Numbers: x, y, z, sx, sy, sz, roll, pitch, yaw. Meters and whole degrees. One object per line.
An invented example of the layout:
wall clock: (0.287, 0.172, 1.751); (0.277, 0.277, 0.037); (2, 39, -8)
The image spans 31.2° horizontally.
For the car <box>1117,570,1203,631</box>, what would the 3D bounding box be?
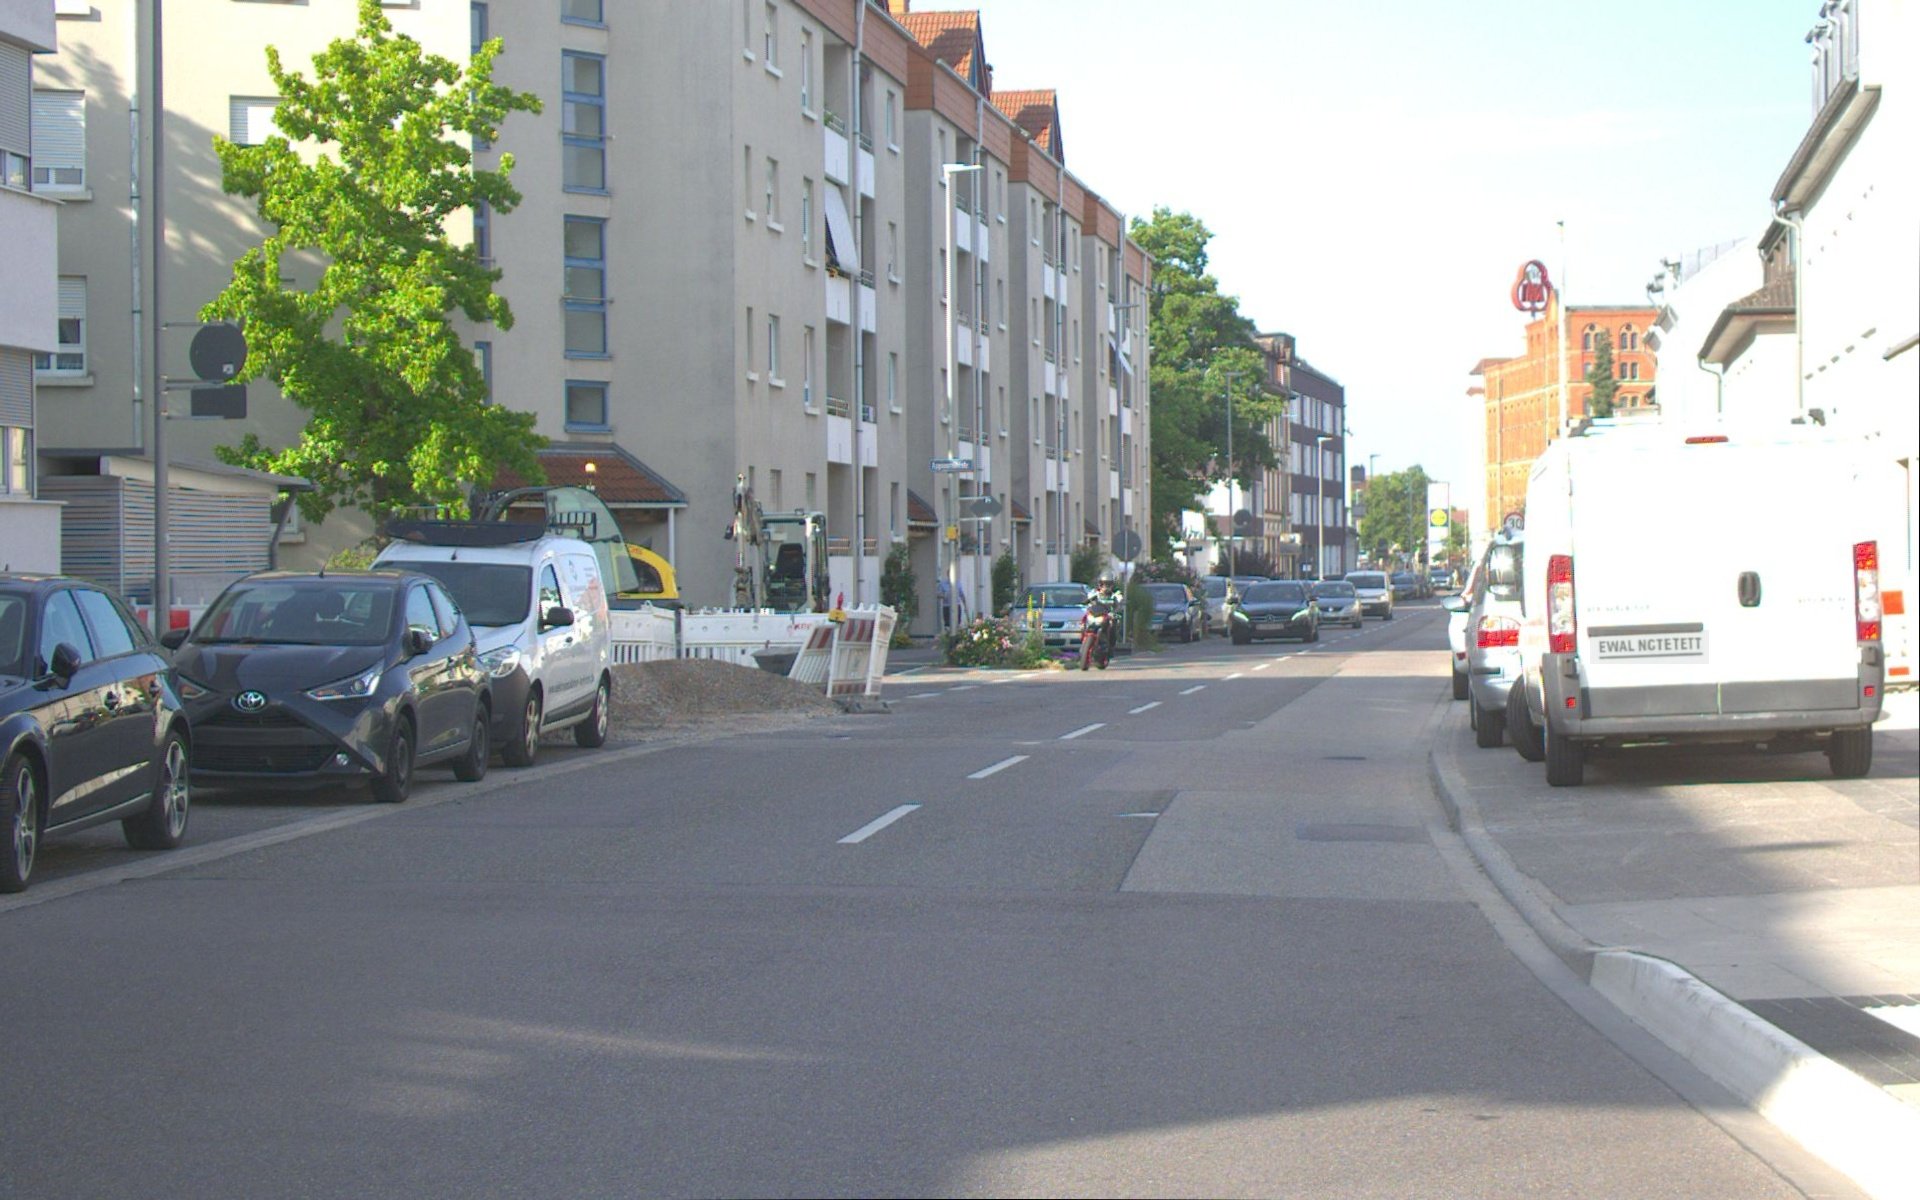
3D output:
car: (4.776, -0.005, 81.577); (1.686, 1.401, 4.082); (1, 1, 8)

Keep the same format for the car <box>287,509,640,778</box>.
car: (-3.850, 0.281, 27.397); (1.727, 1.954, 4.438); (0, 1, 6)

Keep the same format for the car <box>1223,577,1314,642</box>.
car: (7.042, 0.204, 78.250); (1.830, 1.415, 4.207); (-1, 0, 8)

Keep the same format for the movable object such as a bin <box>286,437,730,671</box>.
movable object such as a bin: (-5.755, -0.594, 44.164); (5.496, 2.890, 2.112); (0, 1, -6)

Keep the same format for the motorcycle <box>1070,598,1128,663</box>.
motorcycle: (2.254, 0.477, 55.489); (0.768, 0.981, 2.198); (1, 1, 7)

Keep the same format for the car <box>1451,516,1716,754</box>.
car: (4.996, 0.228, 28.041); (1.778, 1.735, 4.482); (-2, 1, 7)

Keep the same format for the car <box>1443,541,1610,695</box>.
car: (6.736, 0.170, 41.063); (1.813, 1.678, 4.475); (-2, 1, 9)

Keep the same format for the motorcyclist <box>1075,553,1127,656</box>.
motorcyclist: (2.277, 0.062, 55.561); (0.769, 1.646, 0.843); (1, 1, 6)

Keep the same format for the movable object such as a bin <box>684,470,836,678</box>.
movable object such as a bin: (-3.098, -0.446, 53.982); (1.648, 3.127, 3.899); (1, 2, 8)

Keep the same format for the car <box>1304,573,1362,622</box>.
car: (11.517, -0.090, 105.965); (1.618, 1.450, 3.684); (-1, 0, 8)

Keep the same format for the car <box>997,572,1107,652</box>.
car: (1.736, 0.206, 63.758); (1.641, 1.391, 3.670); (-1, 1, 8)

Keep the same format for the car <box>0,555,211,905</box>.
car: (-4.915, 0.532, 16.224); (1.727, 1.473, 4.263); (0, 1, 2)

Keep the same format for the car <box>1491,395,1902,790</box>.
car: (4.822, -0.078, 23.235); (2.175, 2.319, 4.996); (-2, 1, 7)

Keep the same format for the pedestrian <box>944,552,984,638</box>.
pedestrian: (0.085, -0.108, 73.304); (0.719, 1.812, 0.745); (0, 1, 10)

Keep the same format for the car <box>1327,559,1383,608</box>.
car: (14.619, -0.614, 126.961); (1.922, 1.761, 4.336); (-1, 0, 8)

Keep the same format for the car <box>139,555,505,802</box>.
car: (-4.087, 0.447, 22.506); (1.493, 1.460, 3.513); (1, 1, 4)
